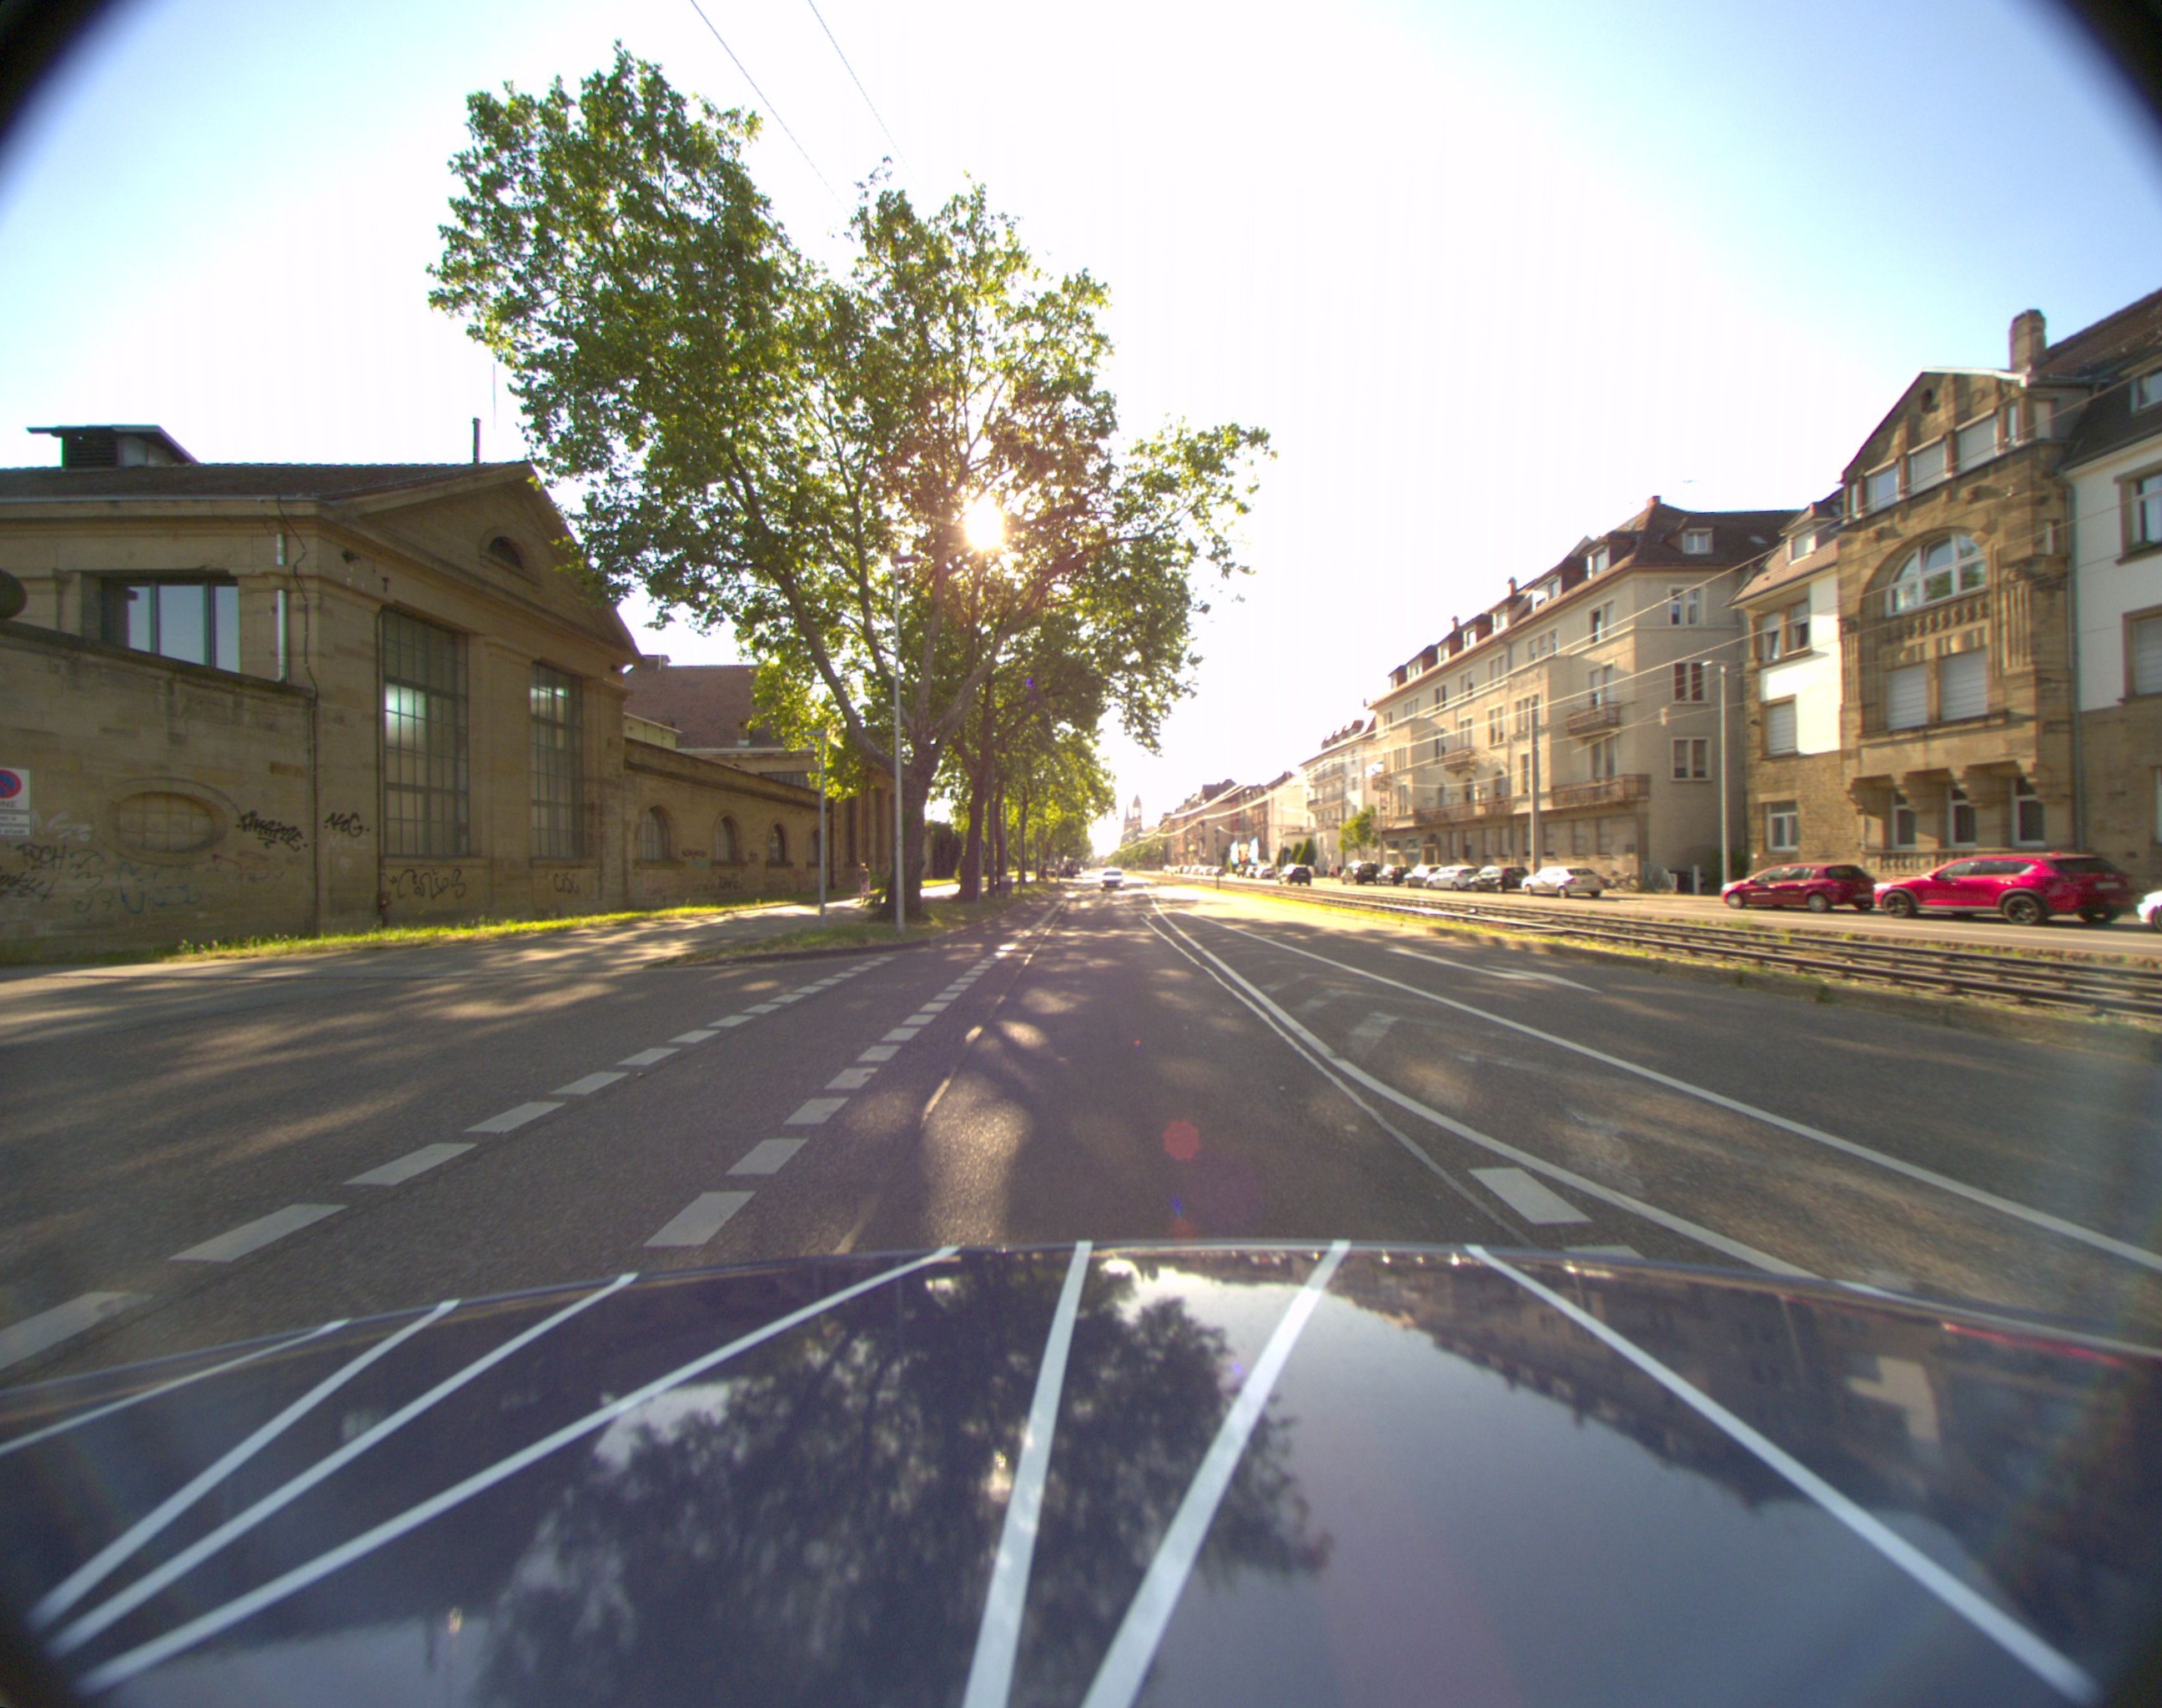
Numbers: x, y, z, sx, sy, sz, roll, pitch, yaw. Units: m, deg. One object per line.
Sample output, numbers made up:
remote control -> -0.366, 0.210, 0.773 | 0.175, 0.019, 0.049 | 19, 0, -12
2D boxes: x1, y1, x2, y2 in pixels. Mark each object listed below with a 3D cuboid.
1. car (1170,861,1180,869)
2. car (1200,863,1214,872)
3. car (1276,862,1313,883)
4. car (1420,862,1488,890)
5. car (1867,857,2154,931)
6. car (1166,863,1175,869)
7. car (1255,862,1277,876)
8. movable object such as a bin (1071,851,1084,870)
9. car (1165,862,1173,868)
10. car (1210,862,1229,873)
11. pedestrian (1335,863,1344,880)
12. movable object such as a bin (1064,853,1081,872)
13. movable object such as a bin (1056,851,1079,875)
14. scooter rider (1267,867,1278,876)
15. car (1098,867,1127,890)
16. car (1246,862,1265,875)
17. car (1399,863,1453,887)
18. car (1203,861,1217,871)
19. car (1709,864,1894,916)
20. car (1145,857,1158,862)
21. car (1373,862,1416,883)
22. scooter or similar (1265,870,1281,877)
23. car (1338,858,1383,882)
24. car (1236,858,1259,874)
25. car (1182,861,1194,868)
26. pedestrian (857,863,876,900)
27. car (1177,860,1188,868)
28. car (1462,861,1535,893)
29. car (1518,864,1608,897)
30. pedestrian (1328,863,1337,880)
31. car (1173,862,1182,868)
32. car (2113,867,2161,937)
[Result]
car -> 22.901, 2.724, 185.533 | 1.799, 1.796, 4.000 | -2, 0, -1
car -> 23.219, 2.571, 140.309 | 1.925, 1.551, 4.845 | -1, -2, 4
car -> 17.186, 1.452, 61.358 | 1.639, 1.592, 4.159 | 0, -1, -2
car -> 22.399, 1.303, 45.801 | 1.640, 1.460, 3.981 | -6, 0, -8
car -> 22.737, 0.896, 18.925 | 1.838, 1.549, 4.353 | -2, 0, 1
car -> 23.192, 3.029, 196.909 | 1.664, 1.437, 3.765 | -2, -1, 0
car -> 22.794, 1.853, 93.955 | 1.798, 1.501, 4.000 | -3, 0, 1
movable object such as a bin -> -0.830, 1.617, 188.531 | 2.922, 4.583, 7.598 | 2, -1, -2
car -> 23.338, 2.946, 201.563 | 1.798, 1.633, 4.631 | -2, -1, 3
car -> 22.772, 2.210, 125.079 | 1.926, 1.452, 4.842 | -6, -1, -1
pedestrian -> 25.922, 1.741, 76.308 | 0.590, 1.687, 0.858 | -3, 1, 4
movable object such as a bin -> -1.915, 1.946, 168.609 | 3.347, 3.952, 7.598 | 2, -1, -2
movable object such as a bin -> -1.895, 1.307, 109.126 | 2.751, 3.127, 7.220 | 2, -1, 1
scooter rider -> 21.938, 1.994, 87.072 | 0.976, 1.082, 0.810 | 0, 0, 31
car -> 2.165, 1.679, 52.970 | 1.799, 1.501, 4.000 | -3, -1, 0
car -> 22.788, 1.847, 99.290 | 1.639, 1.498, 4.159 | -3, 0, 2
car -> 22.850, 1.370, 50.483 | 1.639, 1.460, 4.159 | -4, 0, 0
car -> 22.815, 2.137, 134.406 | 1.925, 1.684, 4.843 | -2, -1, 2
car -> 22.785, 1.074, 24.263 | 1.838, 1.383, 4.034 | -4, 0, -5
car -> 22.875, 1.838, 247.156 | 3.991, 1.501, 1.802 | -3, 0, 21
car -> 23.166, 1.360, 56.319 | 1.632, 1.383, 3.509 | -4, -1, -1
scooter or similar -> 21.975, 2.187, 87.052 | 1.565, 0.766, 0.810 | 0, -1, 31
car -> 22.765, 1.307, 62.041 | 1.867, 1.775, 4.402 | -3, -1, -1
car -> 23.128, 1.636, 105.565 | 2.082, 1.998, 5.593 | -3, -1, 2
car -> 23.059, 2.232, 164.168 | 1.925, 1.529, 4.628 | -2, 0, 0
pedestrian -> -10.034, 1.288, 35.570 | 0.609, 1.672, 0.636 | 3, 0, -2
car -> 22.729, 2.252, 170.819 | 1.664, 1.796, 4.728 | -2, -1, -1
car -> 22.764, 1.223, 41.606 | 1.639, 1.460, 4.159 | -6, 0, 1
car -> 22.826, 1.239, 36.171 | 1.639, 1.460, 4.160 | -1, -1, 1
pedestrian -> 25.265, 1.772, 76.231 | 0.590, 1.687, 0.858 | -3, 1, 4
car -> 22.435, 2.541, 176.373 | 1.664, 1.437, 3.981 | -2, -1, 0
car -> 22.810, 0.947, 13.759 | 1.838, 1.383, 4.682 | -1, 0, 0
